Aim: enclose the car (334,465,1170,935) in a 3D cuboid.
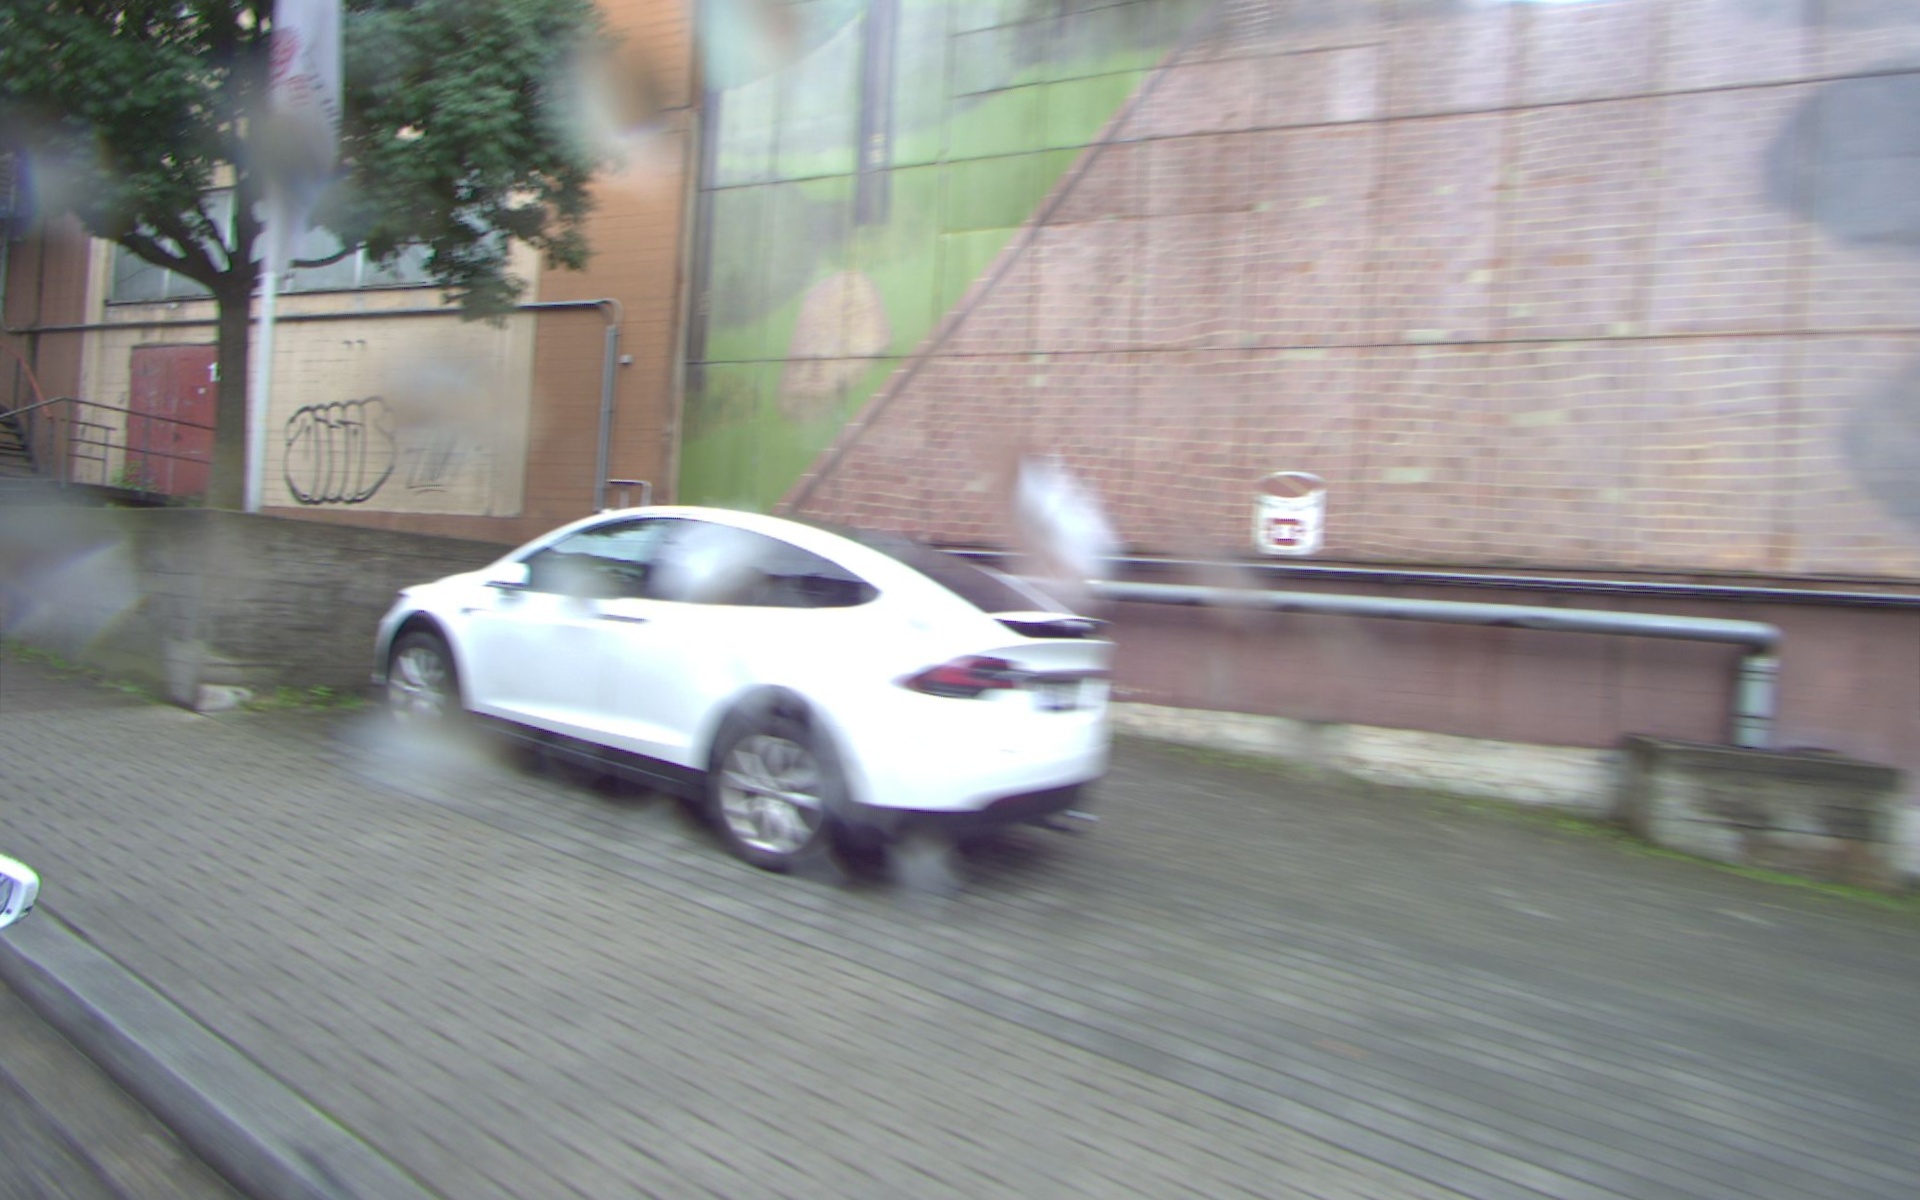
[{"bbox_3d":[-1.449,0.283,6.052,4.832,1.638,1.854,8,2,31],"label":"car"}]
